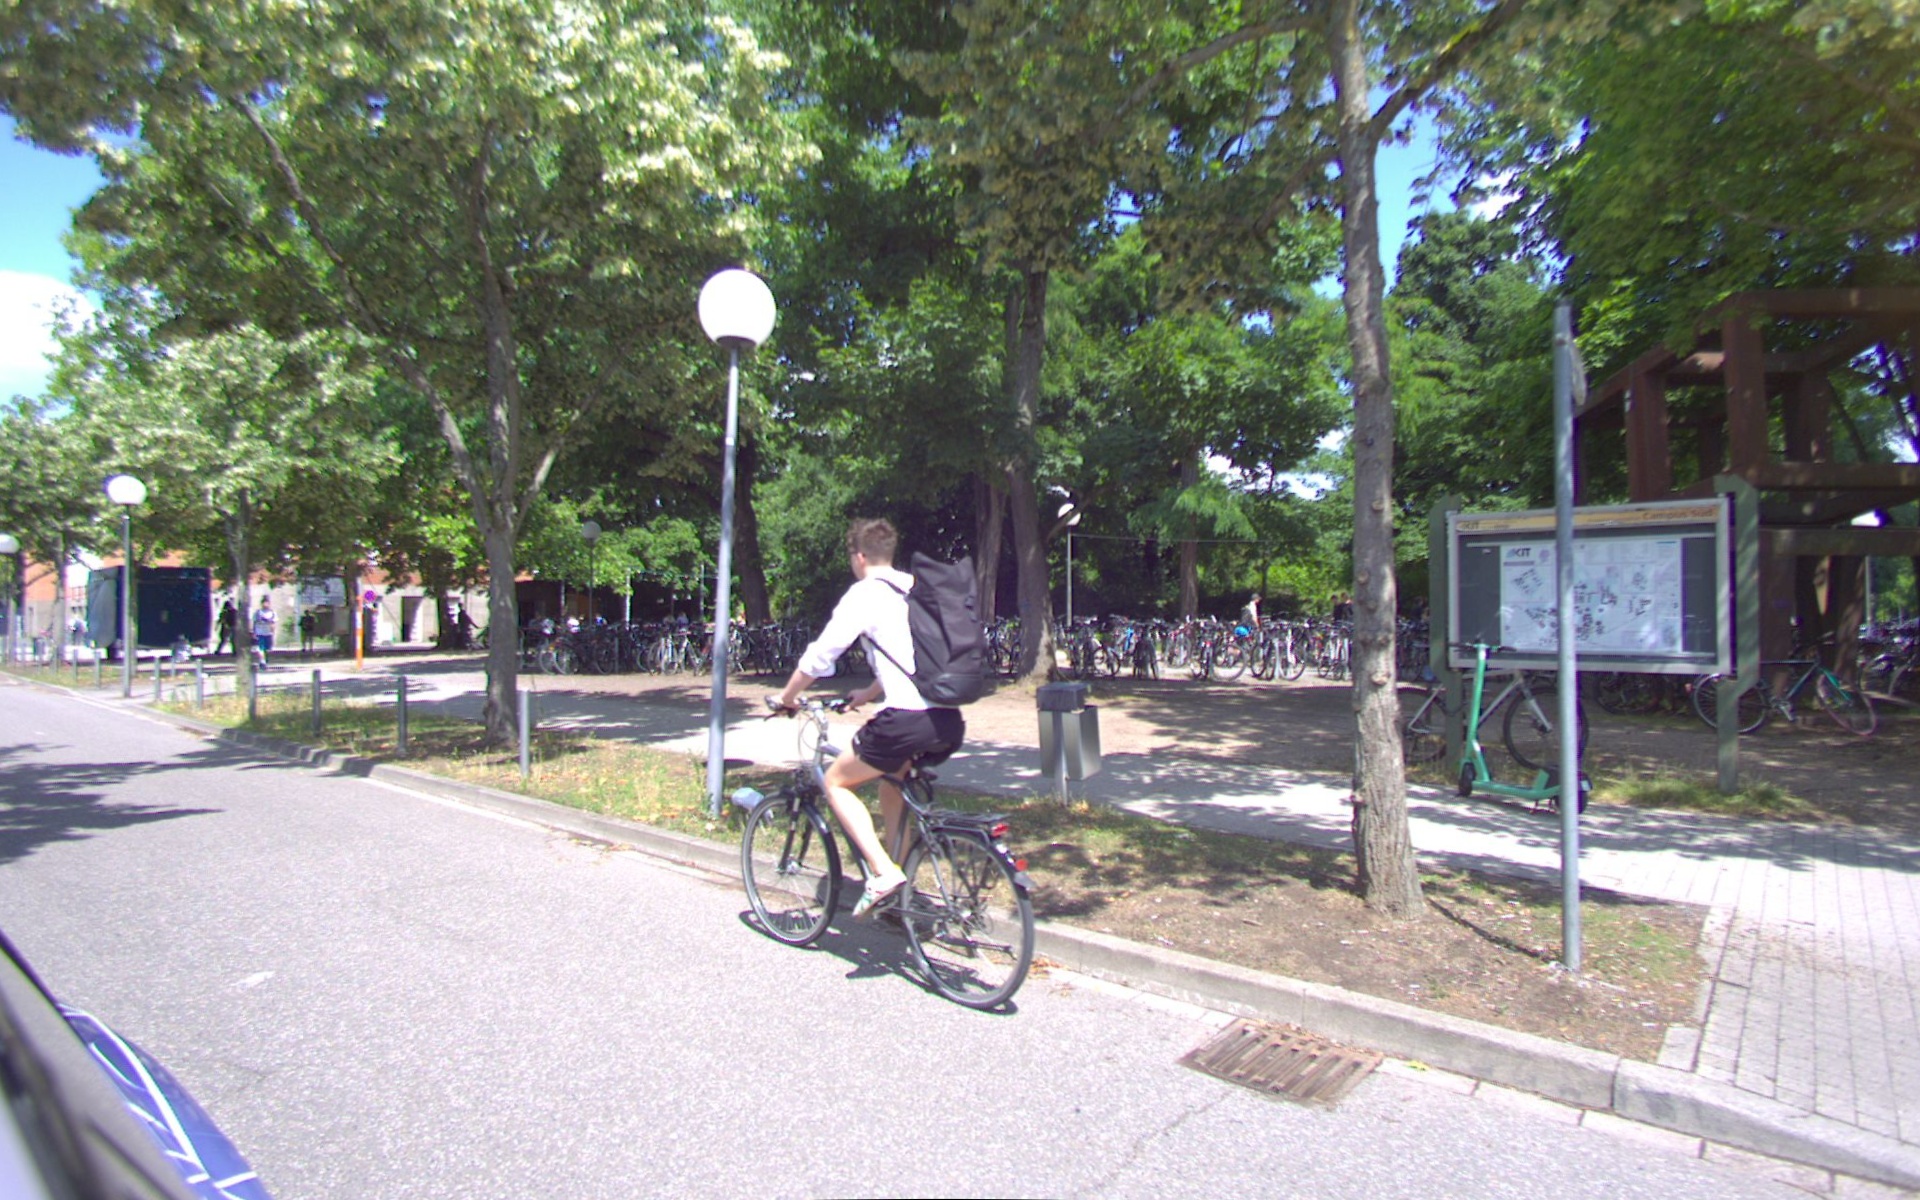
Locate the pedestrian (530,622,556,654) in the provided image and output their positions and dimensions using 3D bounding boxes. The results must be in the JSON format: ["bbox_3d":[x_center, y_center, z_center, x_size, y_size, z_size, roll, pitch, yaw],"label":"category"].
[{"bbox_3d":[-16.767,1.509,40.723,0.733,1.243,0.594,-3,-1,6],"label":"pedestrian"}]

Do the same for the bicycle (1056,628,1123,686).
[{"bbox_3d":[2.521,1.090,20.028,0.870,1.010,2.735,-1,-1,-2],"label":"bicycle"}]

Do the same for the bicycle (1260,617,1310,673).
[{"bbox_3d":[7.468,1.011,23.322,0.632,1.141,2.057,-2,1,5],"label":"bicycle"}]

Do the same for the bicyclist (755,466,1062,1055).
[{"bbox_3d":[-0.206,0.567,4.104,1.017,2.029,0.704,-1,-3,38],"label":"bicyclist"}]

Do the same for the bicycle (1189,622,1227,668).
[{"bbox_3d":[6.468,1.156,26.482,0.632,1.141,2.057,-2,-1,5],"label":"bicycle"}]

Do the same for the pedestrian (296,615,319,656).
[{"bbox_3d":[-26.822,1.445,41.588,0.643,1.678,0.624,-2,-1,41],"label":"pedestrian"}]

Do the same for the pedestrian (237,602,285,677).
[{"bbox_3d":[-17.719,0.987,25.650,0.986,1.844,0.791,-2,-1,41],"label":"pedestrian"}]

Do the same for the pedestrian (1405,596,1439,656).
[{"bbox_3d":[13.144,0.727,28.803,0.695,1.683,0.555,-1,-1,5],"label":"pedestrian"}]

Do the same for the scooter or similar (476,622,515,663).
[{"bbox_3d":[-14.697,1.336,32.016,1.241,1.255,0.691,-1,-1,41],"label":"scooter or similar"}]

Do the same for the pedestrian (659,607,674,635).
[{"bbox_3d":[-12.140,0.873,41.837,0.505,1.148,0.333,-1,-1,30],"label":"pedestrian"}]

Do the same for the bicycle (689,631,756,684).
[{"bbox_3d":[-4.924,1.175,21.123,0.670,1.016,1.885,-1,-1,10],"label":"bicycle"}]

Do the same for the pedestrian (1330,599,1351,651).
[{"bbox_3d":[11.375,0.740,30.237,0.481,1.538,0.408,-1,-1,10],"label":"pedestrian"}]

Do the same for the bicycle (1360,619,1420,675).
[{"bbox_3d":[9.930,1.061,23.441,0.666,1.141,2.057,-2,1,5],"label":"bicycle"}]

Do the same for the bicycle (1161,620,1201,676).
[{"bbox_3d":[5.174,1.105,23.780,0.632,1.141,2.057,-2,1,5],"label":"bicycle"}]

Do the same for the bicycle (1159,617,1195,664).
[{"bbox_3d":[5.639,1.031,26.361,0.632,1.141,2.057,-2,-1,5],"label":"bicycle"}]

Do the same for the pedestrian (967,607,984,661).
[{"bbox_3d":[0.468,1.026,30.895,0.345,1.626,0.463,0,-1,-20],"label":"pedestrian"}]

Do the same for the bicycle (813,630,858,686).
[{"bbox_3d":[-2.514,1.152,20.657,0.668,1.016,2.652,-1,-1,-2],"label":"bicycle"}]

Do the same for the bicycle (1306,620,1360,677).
[{"bbox_3d":[8.561,1.085,23.301,0.632,1.141,2.057,-1,1,5],"label":"bicycle"}]

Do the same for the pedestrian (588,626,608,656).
[{"bbox_3d":[-15.950,1.794,44.647,0.559,1.333,0.638,-2,-2,42],"label":"pedestrian"}]

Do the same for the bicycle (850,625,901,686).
[{"bbox_3d":[-1.647,1.055,20.122,0.870,1.094,2.752,-1,-1,-2],"label":"bicycle"}]

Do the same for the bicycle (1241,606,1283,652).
[{"bbox_3d":[7.860,0.742,26.421,0.632,1.141,2.057,-2,-1,5],"label":"bicycle"}]

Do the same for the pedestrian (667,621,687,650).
[{"bbox_3d":[-11.606,1.451,41.532,0.728,1.203,0.388,-1,-1,31],"label":"pedestrian"}]

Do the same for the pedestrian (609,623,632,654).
[{"bbox_3d":[-14.103,1.579,42.053,0.764,1.260,0.565,-1,-1,29],"label":"pedestrian"}]

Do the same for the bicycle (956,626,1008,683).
[{"bbox_3d":[0.400,1.049,20.198,0.870,1.022,2.785,-1,-1,-2],"label":"bicycle"}]

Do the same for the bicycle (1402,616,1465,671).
[{"bbox_3d":[10.966,0.981,23.495,0.632,1.141,2.057,-2,1,5],"label":"bicycle"}]

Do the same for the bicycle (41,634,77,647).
[{"bbox_3d":[-67.417,3.046,75.724,0.568,0.948,1.931,-2,-2,39],"label":"bicycle"}]

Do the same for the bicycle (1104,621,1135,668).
[{"bbox_3d":[4.148,1.149,26.495,0.632,1.141,2.057,-2,-1,5],"label":"bicycle"}]

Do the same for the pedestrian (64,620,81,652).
[{"bbox_3d":[-49.591,2.021,56.546,0.805,1.775,0.557,-1,-2,40],"label":"pedestrian"}]

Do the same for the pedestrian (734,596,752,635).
[{"bbox_3d":[-8.640,0.633,40.258,0.472,1.534,0.502,-1,-1,30],"label":"pedestrian"}]

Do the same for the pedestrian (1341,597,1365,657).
[{"bbox_3d":[11.500,0.787,29.620,0.539,1.727,0.412,-1,-1,10],"label":"pedestrian"}]

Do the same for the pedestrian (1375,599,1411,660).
[{"bbox_3d":[12.015,0.812,28.119,0.721,1.683,0.631,-1,-1,5],"label":"pedestrian"}]

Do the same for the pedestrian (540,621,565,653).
[{"bbox_3d":[-16.655,1.516,41.336,0.733,1.243,0.594,-3,-1,6],"label":"pedestrian"}]

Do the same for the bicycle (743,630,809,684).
[{"bbox_3d":[-3.800,1.157,21.080,0.670,1.016,2.147,-1,-1,10],"label":"bicycle"}]

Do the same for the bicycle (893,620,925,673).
[{"bbox_3d":[-1.218,1.097,24.508,0.473,1.141,2.057,-2,1,5],"label":"bicycle"}]

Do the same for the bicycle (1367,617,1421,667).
[{"bbox_3d":[11.086,1.051,25.938,0.632,1.141,2.057,-2,1,5],"label":"bicycle"}]

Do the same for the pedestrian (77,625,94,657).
[{"bbox_3d":[-49.280,2.296,57.049,0.917,1.793,0.570,-1,-2,40],"label":"pedestrian"}]

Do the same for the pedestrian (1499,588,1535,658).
[{"bbox_3d":[15.764,0.655,28.655,0.673,1.948,0.621,-1,-1,5],"label":"pedestrian"}]

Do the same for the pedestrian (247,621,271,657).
[{"bbox_3d":[-30.486,1.690,44.017,0.499,1.521,0.735,-2,-1,41],"label":"pedestrian"}]

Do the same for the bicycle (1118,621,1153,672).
[{"bbox_3d":[4.137,1.081,23.959,0.632,1.141,2.057,-2,-1,5],"label":"bicycle"}]

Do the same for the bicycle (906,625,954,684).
[{"bbox_3d":[-0.608,1.043,20.153,0.870,1.058,2.835,-1,-1,-2],"label":"bicycle"}]

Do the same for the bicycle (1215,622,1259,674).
[{"bbox_3d":[6.517,1.110,23.901,0.632,1.141,2.057,-2,-1,5],"label":"bicycle"}]

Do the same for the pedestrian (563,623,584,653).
[{"bbox_3d":[-16.722,1.635,43.775,0.693,1.281,0.554,-2,-1,41],"label":"pedestrian"}]

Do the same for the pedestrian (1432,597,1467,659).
[{"bbox_3d":[13.604,0.770,28.125,0.685,1.683,0.555,-1,-1,5],"label":"pedestrian"}]

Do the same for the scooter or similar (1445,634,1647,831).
[{"bbox_3d":[3.953,0.840,6.937,0.334,1.184,1.332,-1,-1,-14],"label":"scooter or similar"}]

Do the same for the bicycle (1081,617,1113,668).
[{"bbox_3d":[3.215,0.991,23.931,0.632,1.141,2.057,-2,-1,5],"label":"bicycle"}]

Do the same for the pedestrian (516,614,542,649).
[{"bbox_3d":[-17.545,1.288,41.189,0.733,1.380,0.594,-3,-1,6],"label":"pedestrian"}]

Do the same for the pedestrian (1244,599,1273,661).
[{"bbox_3d":[8.211,0.828,27.842,0.623,1.683,0.577,-1,-1,5],"label":"pedestrian"}]

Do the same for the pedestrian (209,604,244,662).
[{"bbox_3d":[-25.811,1.153,35.614,0.906,1.969,0.893,-2,1,-40],"label":"pedestrian"}]

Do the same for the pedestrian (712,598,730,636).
[{"bbox_3d":[-9.261,0.655,39.277,0.458,1.433,0.501,-1,-1,30],"label":"pedestrian"}]

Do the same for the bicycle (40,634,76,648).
[{"bbox_3d":[-68.392,3.113,76.732,0.529,1.038,1.931,-2,-2,39],"label":"bicycle"}]

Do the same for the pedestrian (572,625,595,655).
[{"bbox_3d":[-16.815,1.774,45.174,0.778,1.333,0.680,-2,-2,42],"label":"pedestrian"}]

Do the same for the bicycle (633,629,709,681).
[{"bbox_3d":[-6.156,1.156,21.682,0.670,1.016,2.147,-1,-1,10],"label":"bicycle"}]

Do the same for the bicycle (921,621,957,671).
[{"bbox_3d":[-0.495,1.107,24.771,0.632,1.141,2.057,-2,-1,5],"label":"bicycle"}]

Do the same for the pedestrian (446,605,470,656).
[{"bbox_3d":[-18.854,1.136,38.001,0.805,1.862,0.524,-2,-1,41],"label":"pedestrian"}]

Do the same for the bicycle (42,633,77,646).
[{"bbox_3d":[-70.061,3.061,78.744,0.518,1.038,1.931,-2,-2,39],"label":"bicycle"}]

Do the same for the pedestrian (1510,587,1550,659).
[{"bbox_3d":[15.712,0.629,27.904,0.688,1.948,0.647,-1,-1,5],"label":"pedestrian"}]

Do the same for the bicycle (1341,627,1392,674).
[{"bbox_3d":[10.394,1.277,25.950,0.632,1.141,2.057,0,-1,5],"label":"bicycle"}]

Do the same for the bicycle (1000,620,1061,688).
[{"bbox_3d":[1.356,1.013,19.998,0.870,1.230,2.909,-1,-1,-2],"label":"bicycle"}]
